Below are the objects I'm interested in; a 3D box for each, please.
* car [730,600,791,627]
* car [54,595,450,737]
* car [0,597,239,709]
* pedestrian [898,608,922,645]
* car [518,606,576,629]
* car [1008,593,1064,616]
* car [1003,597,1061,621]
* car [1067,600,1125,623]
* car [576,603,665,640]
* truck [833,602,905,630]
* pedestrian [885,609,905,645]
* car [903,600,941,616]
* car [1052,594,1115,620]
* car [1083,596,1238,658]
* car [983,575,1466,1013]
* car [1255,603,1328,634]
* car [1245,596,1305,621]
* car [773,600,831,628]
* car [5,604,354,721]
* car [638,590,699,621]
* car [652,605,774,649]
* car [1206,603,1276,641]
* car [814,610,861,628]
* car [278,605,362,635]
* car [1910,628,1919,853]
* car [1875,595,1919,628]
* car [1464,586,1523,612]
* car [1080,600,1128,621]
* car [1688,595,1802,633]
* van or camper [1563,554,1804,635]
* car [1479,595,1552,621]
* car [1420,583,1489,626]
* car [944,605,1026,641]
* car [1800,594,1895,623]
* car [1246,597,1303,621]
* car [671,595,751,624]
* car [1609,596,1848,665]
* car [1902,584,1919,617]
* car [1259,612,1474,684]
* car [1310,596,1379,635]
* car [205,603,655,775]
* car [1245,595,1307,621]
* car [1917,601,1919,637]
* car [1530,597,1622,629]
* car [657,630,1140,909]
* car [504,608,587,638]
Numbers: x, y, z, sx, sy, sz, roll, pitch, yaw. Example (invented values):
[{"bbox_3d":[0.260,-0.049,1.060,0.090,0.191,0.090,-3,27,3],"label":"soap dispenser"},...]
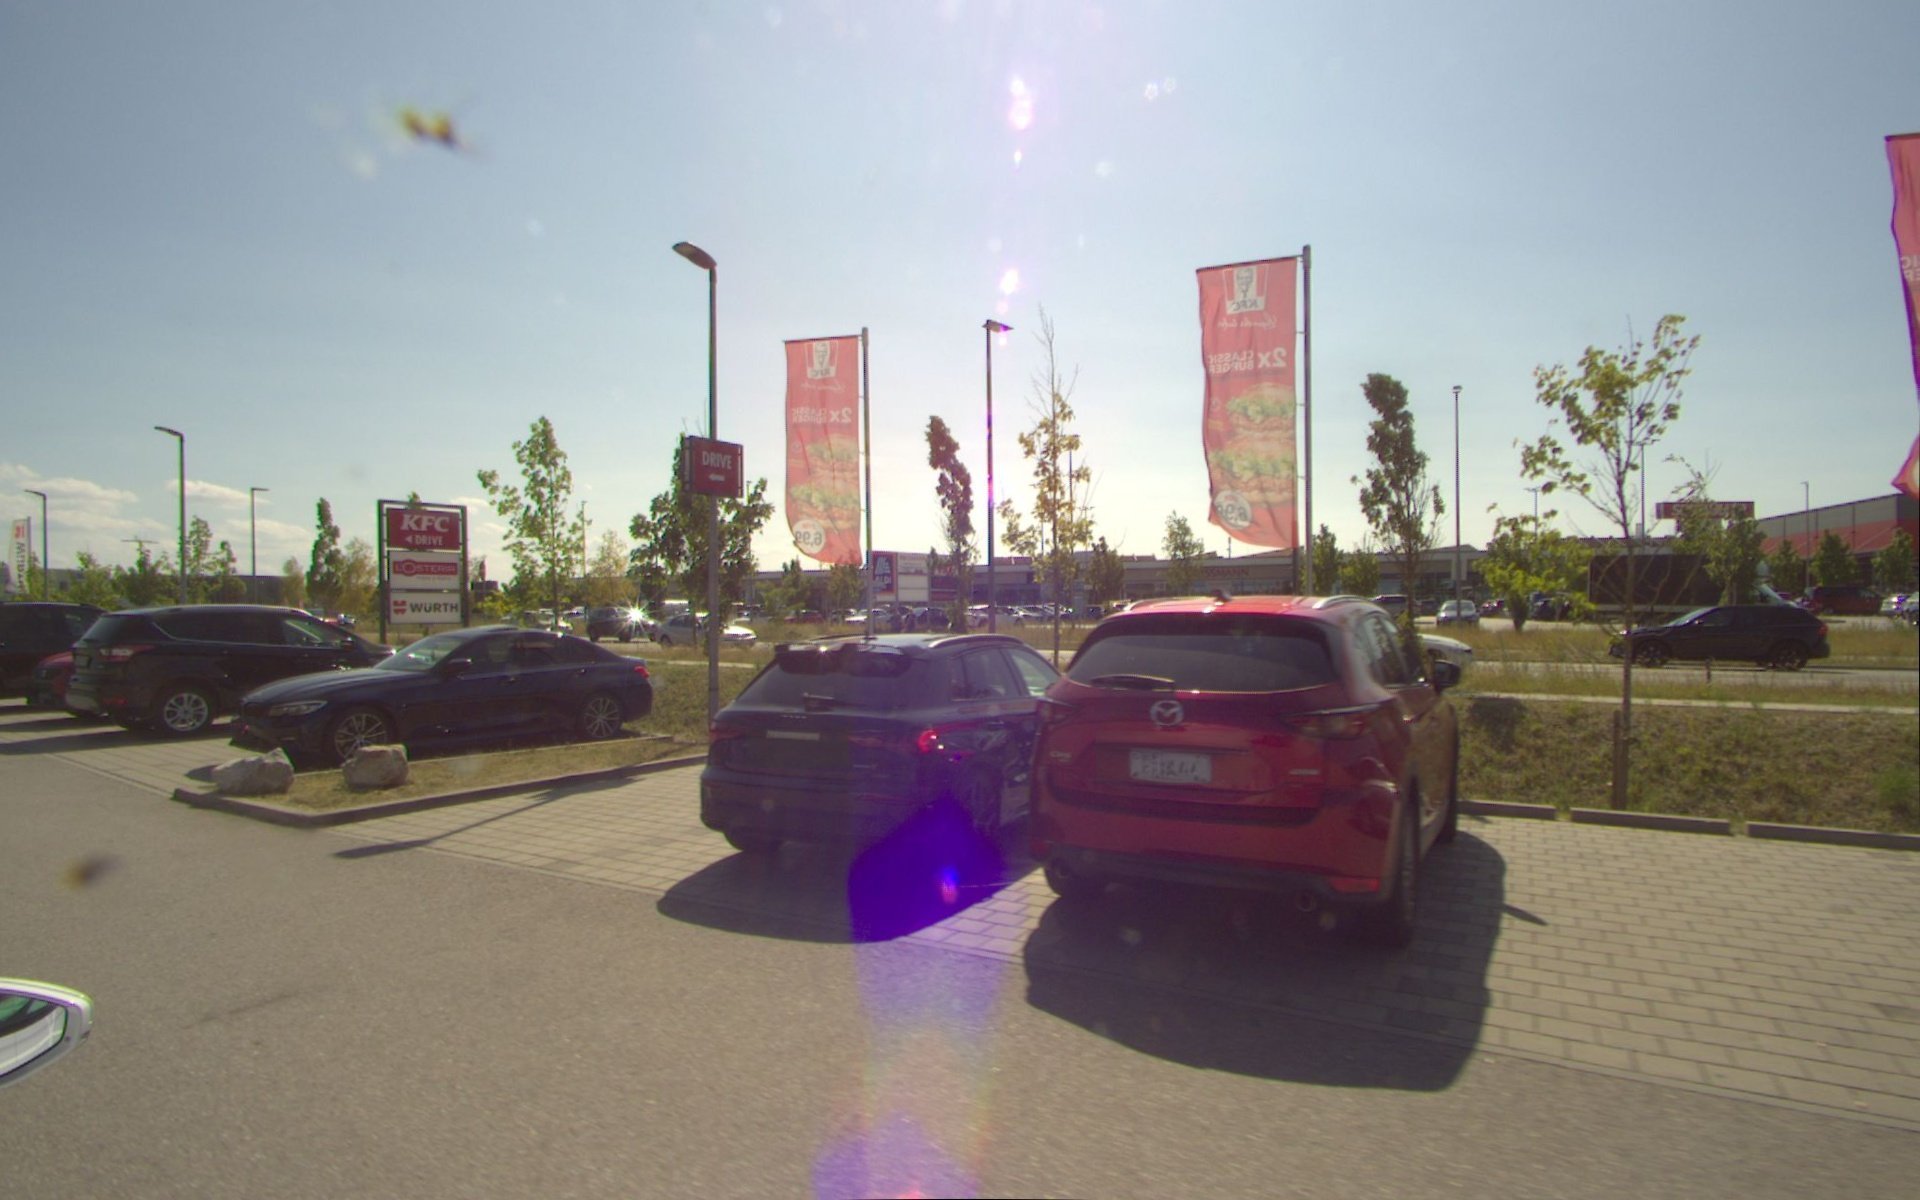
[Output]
[{"bbox_3d":[-15.582,1.069,78.609,1.968,2.040,5.162,0,0,26],"label":"car"},{"bbox_3d":[-9.975,0.867,14.433,1.871,1.724,4.305,0,-2,36],"label":"car"},{"bbox_3d":[-15.415,0.873,17.204,1.869,1.783,4.565,0,-2,34],"label":"car"},{"bbox_3d":[-2.197,1.167,43.940,0.748,1.621,0.686,1,0,42],"label":"pedestrian"},{"bbox_3d":[-38.748,1.626,94.138,1.968,2.040,5.059,0,0,26],"label":"car"},{"bbox_3d":[6.867,0.419,90.202,4.839,2.040,2.081,0,0,12],"label":"car"},{"bbox_3d":[6.313,0.807,87.599,4.839,2.040,2.081,0,0,12],"label":"car"},{"bbox_3d":[11.283,0.938,82.936,4.490,1.880,1.953,0,0,17],"label":"car"},{"bbox_3d":[-16.394,1.003,48.313,4.544,1.686,1.866,0,0,37],"label":"car"},{"bbox_3d":[-6.321,1.113,70.260,1.974,1.888,5.398,0,0,36],"label":"truck"},{"bbox_3d":[-2.882,1.195,44.518,0.659,1.576,0.620,1,0,42],"label":"pedestrian"},{"bbox_3d":[-3.740,0.816,98.762,3.410,1.572,1.666,0,0,11],"label":"car"},{"bbox_3d":[9.295,0.515,75.344,4.490,1.880,1.953,0,0,17],"label":"car"},{"bbox_3d":[6.739,0.860,33.792,4.818,1.980,1.871,0,0,28],"label":"car"},{"bbox_3d":[1.955,0.798,6.122,1.921,1.659,4.215,0,-2,29],"label":"car"},{"bbox_3d":[20.983,1.140,63.594,4.324,1.880,1.953,0,0,17],"label":"car"},{"bbox_3d":[24.015,0.642,76.482,4.324,1.880,1.953,0,0,17],"label":"car"},{"bbox_3d":[-11.834,1.071,75.312,1.976,2.040,4.059,0,0,40],"label":"car"},{"bbox_3d":[-12.402,0.926,16.172,1.869,1.629,4.060,0,-1,33],"label":"car"},{"bbox_3d":[-24.164,0.435,83.276,1.968,2.487,5.059,0,0,26],"label":"car"},{"bbox_3d":[-9.343,0.967,37.687,4.596,1.547,1.987,0,0,36],"label":"car"},{"bbox_3d":[14.741,1.139,52.469,1.976,1.880,4.254,0,0,40],"label":"car"},{"bbox_3d":[-11.384,1.771,93.296,3.934,1.639,1.994,0,0,25],"label":"car"},{"bbox_3d":[-39.040,1.189,61.089,4.678,1.755,1.995,0,0,23],"label":"car"},{"bbox_3d":[5.998,0.829,4.035,1.712,1.431,4.589,0,-2,24],"label":"car"},{"bbox_3d":[56.891,0.686,58.665,4.324,1.880,2.045,0,0,17],"label":"car"},{"bbox_3d":[43.371,-0.081,81.539,3.929,2.040,1.996,0,0,20],"label":"car"},{"bbox_3d":[13.716,1.007,95.282,4.324,1.880,1.953,0,0,17],"label":"car"},{"bbox_3d":[40.356,0.694,51.569,4.190,1.880,1.867,0,0,17],"label":"car"},{"bbox_3d":[30.508,-0.196,42.591,2.392,3.142,7.987,0,0,-40],"label":"van or camper"},{"bbox_3d":[40.742,0.586,73.568,4.324,1.880,1.953,0,0,17],"label":"car"},{"bbox_3d":[22.987,0.236,46.475,1.932,1.880,4.371,0,0,40],"label":"car"},{"bbox_3d":[1.403,1.237,54.513,4.365,1.870,1.980,1,0,-45],"label":"car"},{"bbox_3d":[59.155,0.551,66.821,4.324,1.880,1.953,0,0,17],"label":"car"},{"bbox_3d":[25.619,0.704,81.623,4.323,1.880,1.954,0,0,14],"label":"car"},{"bbox_3d":[-20.169,0.763,81.432,2.774,2.267,6.284,0,0,29],"label":"car"},{"bbox_3d":[19.689,0.740,25.986,4.737,1.646,1.989,0,0,33],"label":"car"},{"bbox_3d":[55.708,0.040,55.755,4.324,1.880,1.953,0,0,17],"label":"car"},{"bbox_3d":[9.770,1.087,24.123,4.586,1.547,1.991,0,0,30],"label":"car"},{"bbox_3d":[19.173,0.760,49.820,1.932,1.880,4.371,0,0,40],"label":"car"},{"bbox_3d":[-6.074,0.922,12.004,1.871,1.659,4.424,0,-2,36],"label":"car"},{"bbox_3d":[23.329,0.613,74.057,4.324,1.880,1.953,0,0,17],"label":"car"},{"bbox_3d":[38.741,0.742,38.324,1.626,1.479,3.958,0,0,21],"label":"car"},{"bbox_3d":[37.191,0.772,60.577,4.324,1.880,1.953,0,0,17],"label":"car"},{"bbox_3d":[-0.100,0.945,7.455,1.745,1.428,4.193,0,-2,26],"label":"car"},{"bbox_3d":[-22.134,1.183,53.401,4.595,1.524,1.988,0,0,36],"label":"car"}]
